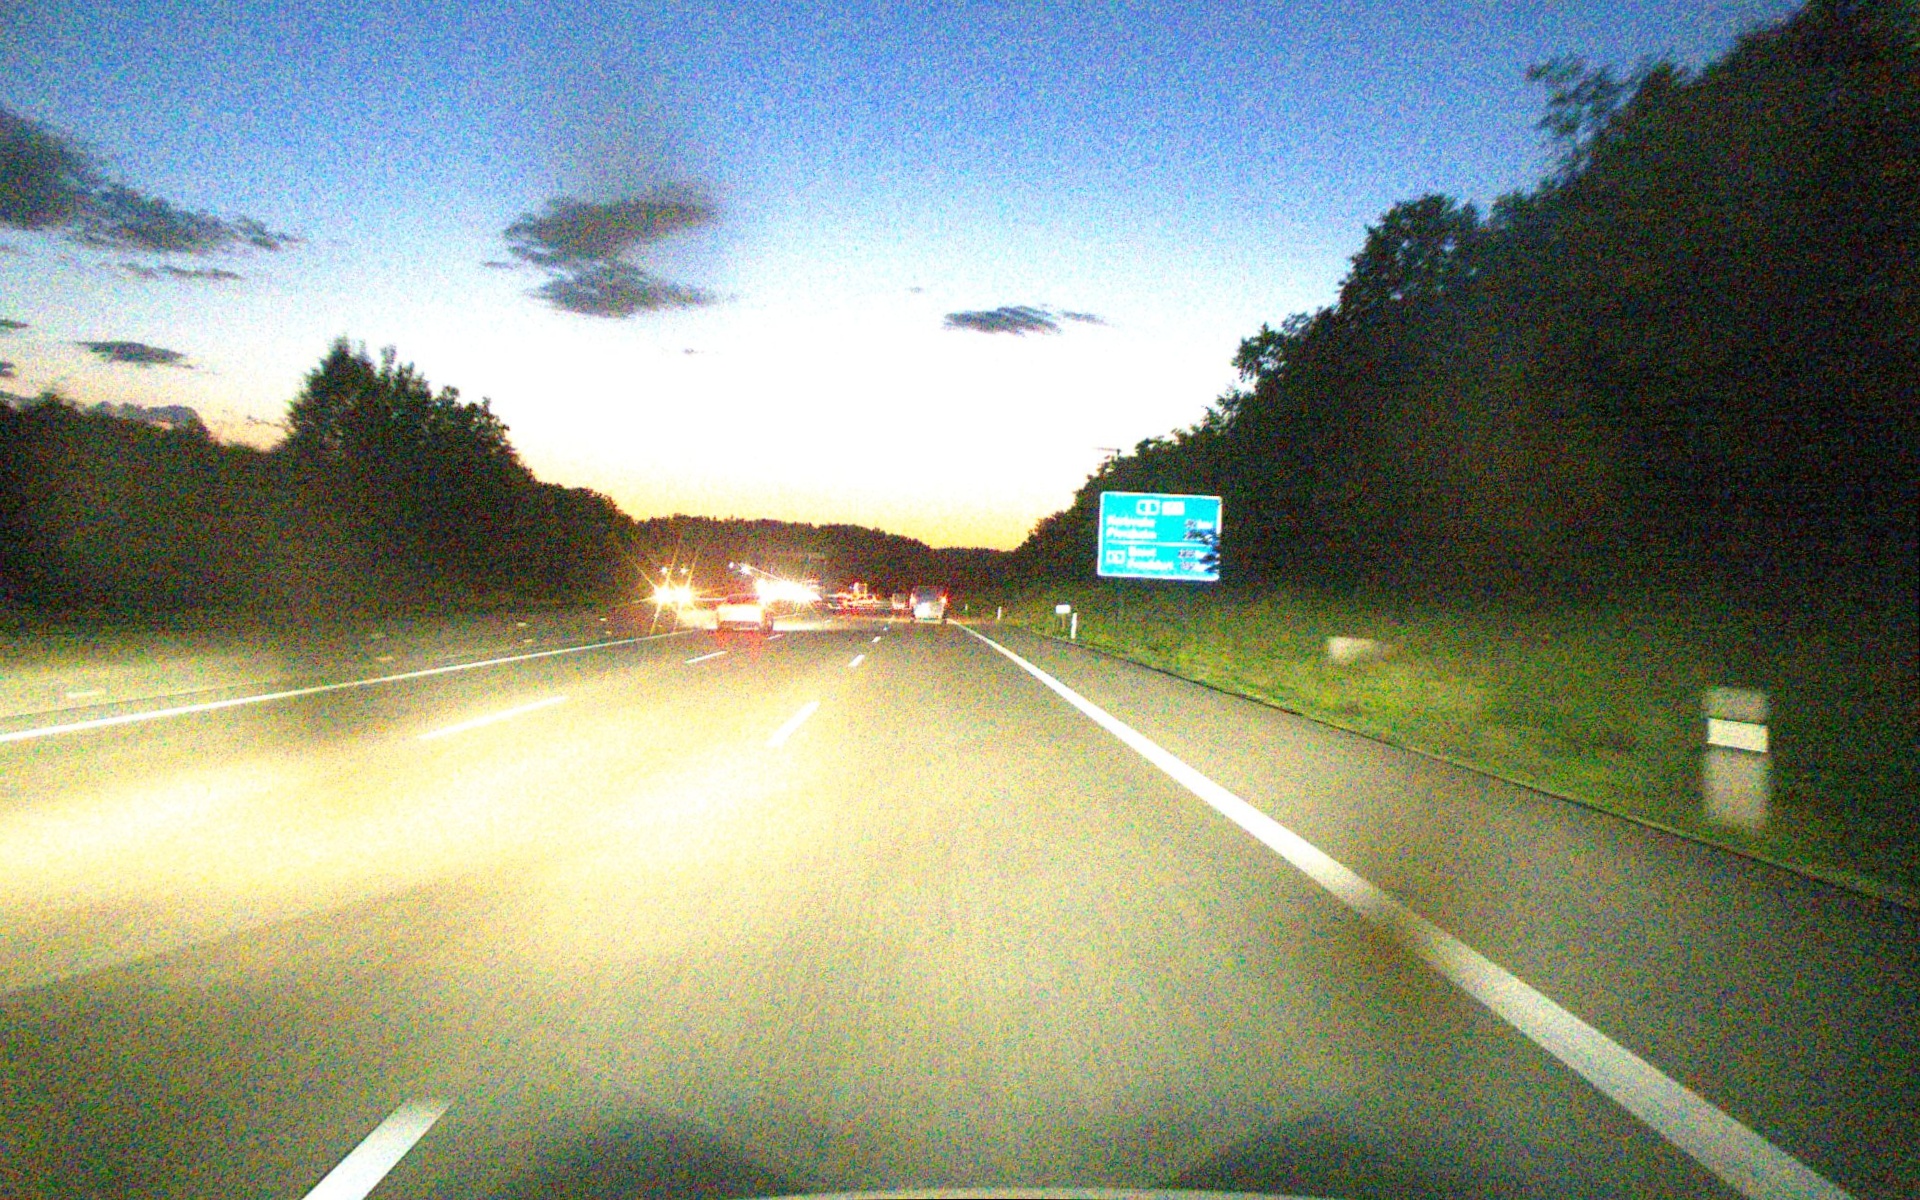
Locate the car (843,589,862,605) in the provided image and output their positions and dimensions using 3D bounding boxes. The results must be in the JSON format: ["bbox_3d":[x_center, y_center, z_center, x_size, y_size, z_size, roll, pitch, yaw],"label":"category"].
[{"bbox_3d":[-14.484,-0.401,222.595,2.152,1.989,4.633,4,1,-1],"label":"car"}]

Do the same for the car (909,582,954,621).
[{"bbox_3d":[-1.465,0.044,88.132,2.151,1.989,4.765,0,1,2],"label":"car"}]

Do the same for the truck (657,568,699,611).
[{"bbox_3d":[-26.383,-0.976,155.001,2.468,3.919,9.063,1,0,-1],"label":"truck"}]

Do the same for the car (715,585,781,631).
[{"bbox_3d":[-7.869,0.257,61.840,1.744,1.512,5.253,4,1,-1],"label":"car"}]

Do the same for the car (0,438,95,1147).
[{"bbox_3d":[-3.314,0.511,1.547,1.953,1.751,5.942,0,1,-1],"label":"car"}]
